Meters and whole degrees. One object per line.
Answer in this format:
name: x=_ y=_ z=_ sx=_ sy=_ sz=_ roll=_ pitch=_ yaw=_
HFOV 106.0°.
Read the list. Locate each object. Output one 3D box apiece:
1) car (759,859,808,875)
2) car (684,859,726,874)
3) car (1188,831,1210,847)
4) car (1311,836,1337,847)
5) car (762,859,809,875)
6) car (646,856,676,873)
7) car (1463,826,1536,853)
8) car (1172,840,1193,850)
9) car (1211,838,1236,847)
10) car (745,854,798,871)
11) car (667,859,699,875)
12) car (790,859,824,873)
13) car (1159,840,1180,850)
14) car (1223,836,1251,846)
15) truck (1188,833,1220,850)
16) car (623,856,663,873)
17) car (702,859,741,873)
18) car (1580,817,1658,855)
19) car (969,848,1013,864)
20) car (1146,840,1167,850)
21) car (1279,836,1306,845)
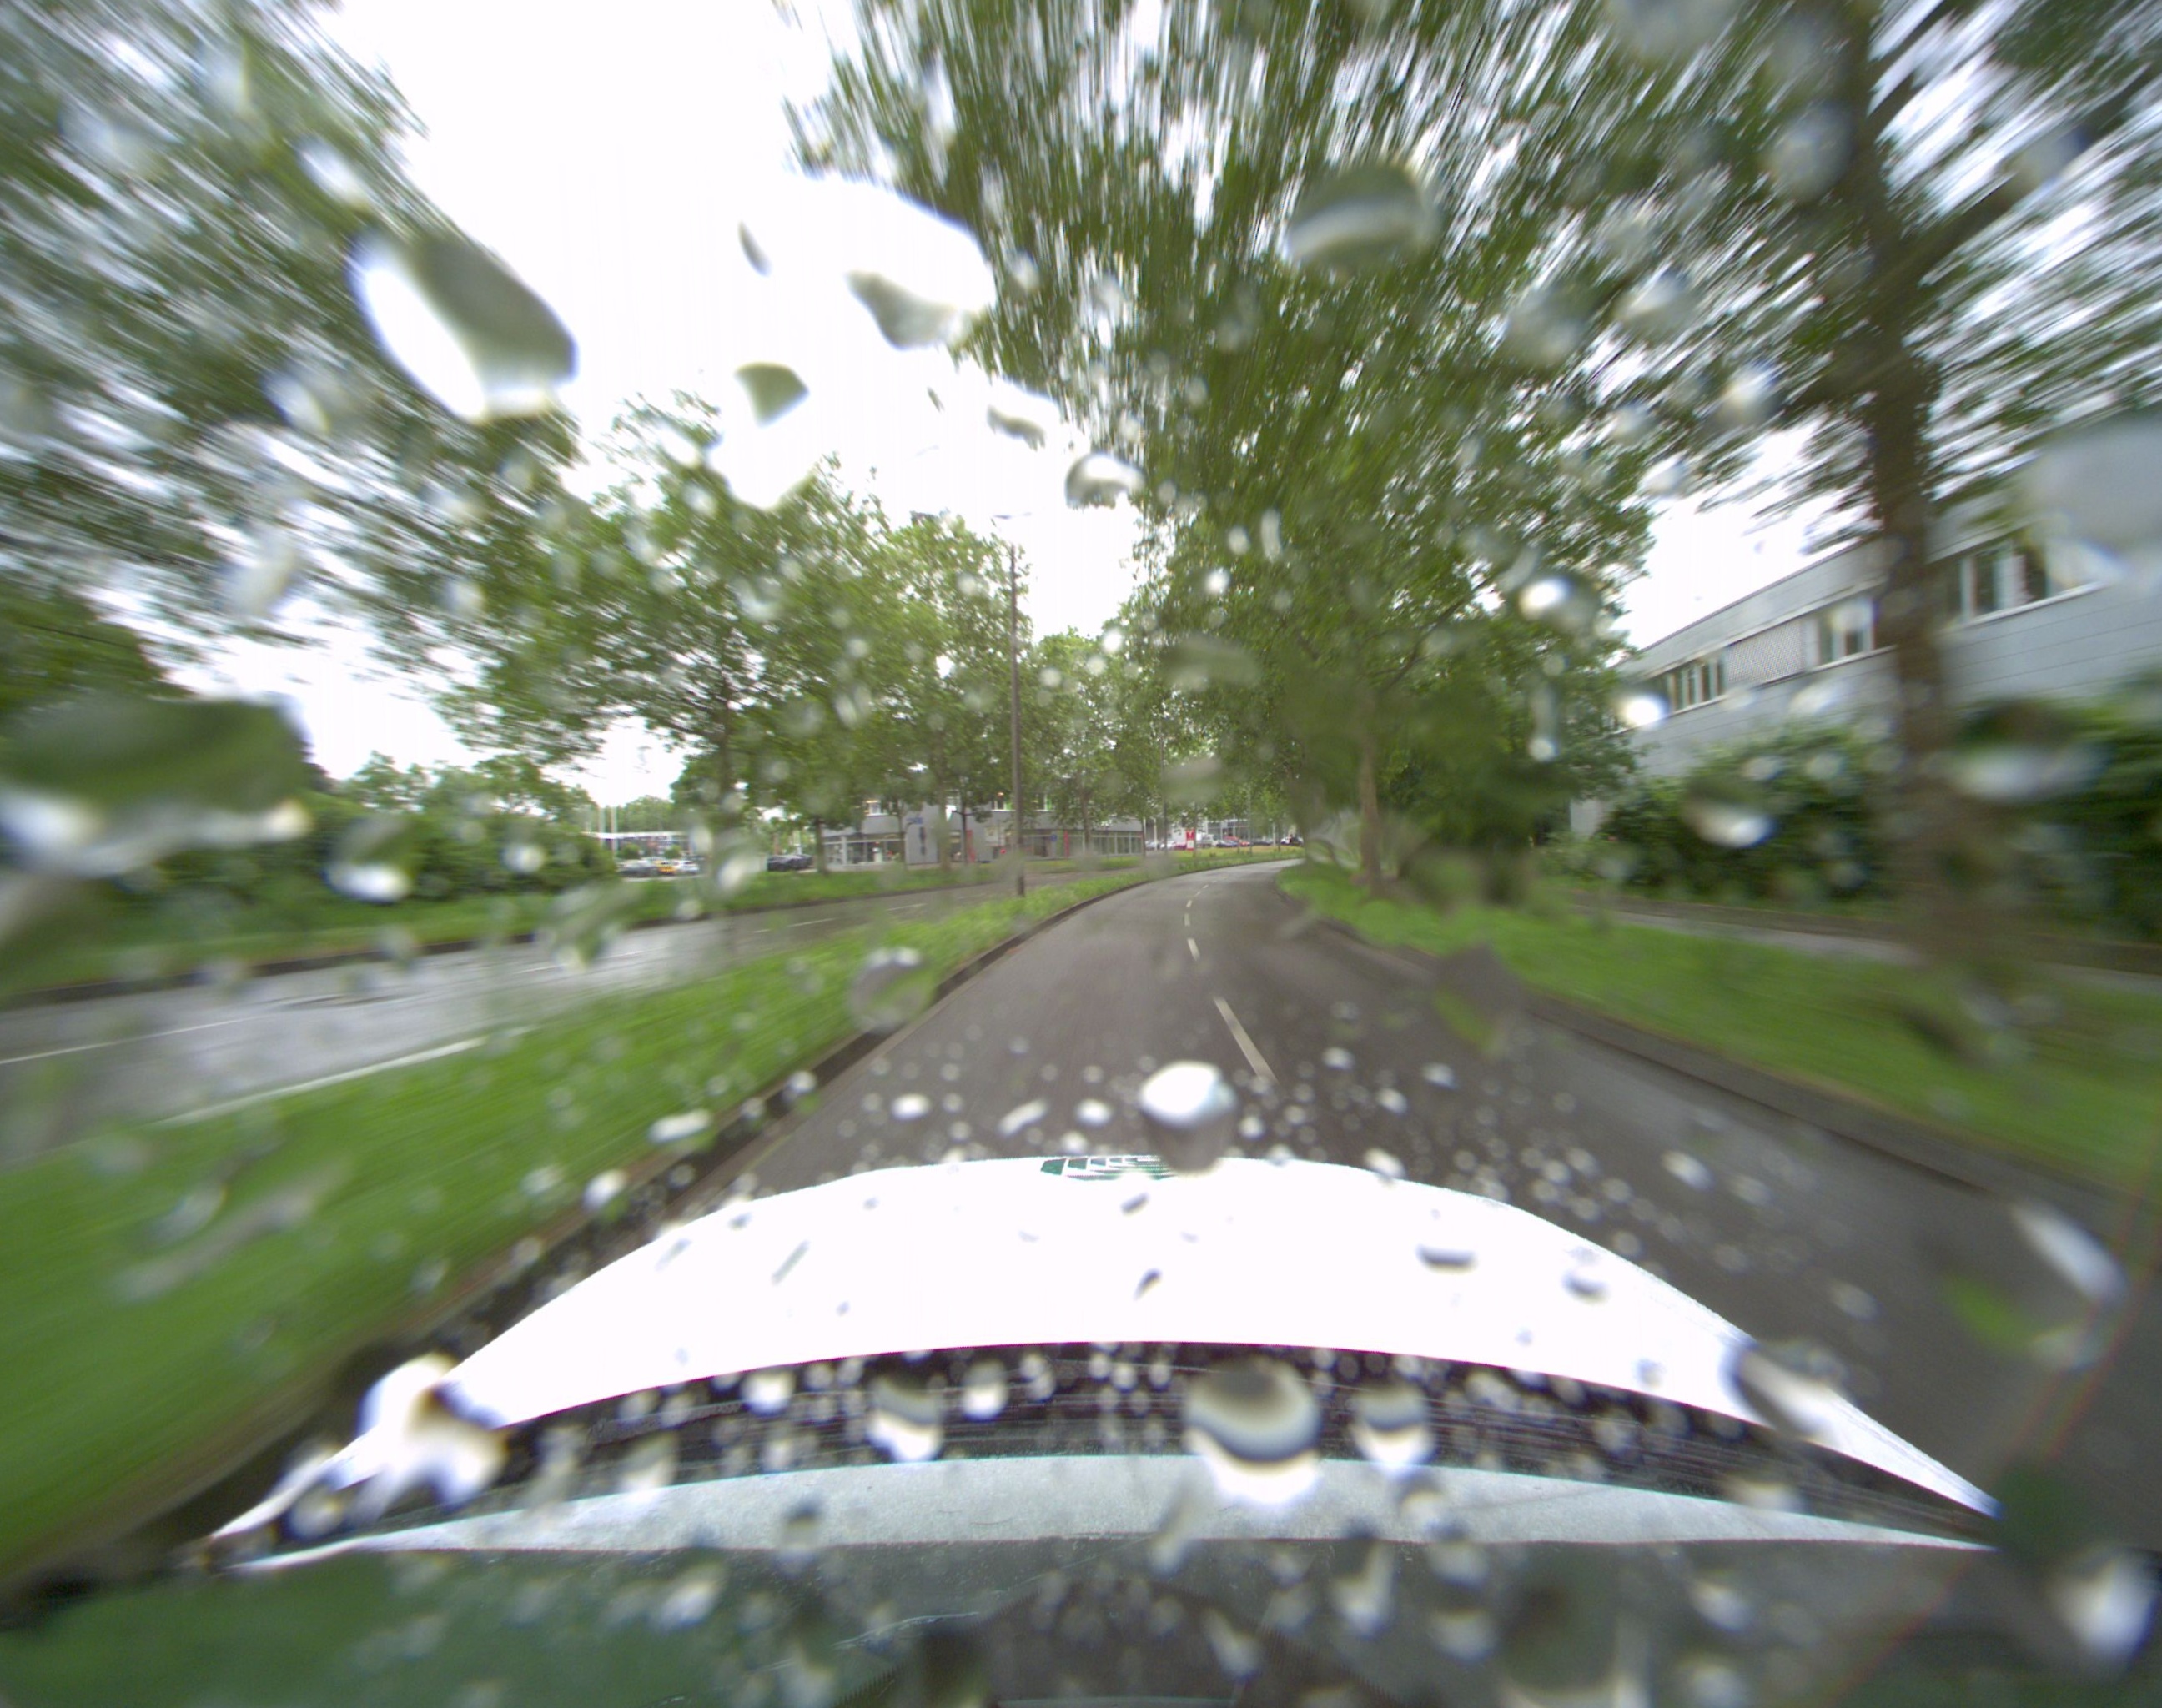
car: x=-29.260 y=1.284 z=80.080 sx=4.177 sy=1.494 sz=1.598 roll=-1 pitch=0 yaw=0
car: x=-40.622 y=1.339 z=88.102 sx=3.748 sy=1.494 sz=1.598 roll=-1 pitch=0 yaw=0
car: x=20.911 y=-2.747 z=144.887 sx=2.165 sy=2.752 sz=5.318 roll=-1 pitch=2 yaw=-12
car: x=44.443 y=-2.305 z=149.081 sx=4.107 sy=1.478 sz=1.847 roll=3 pitch=6 yaw=-3
car: x=-30.219 y=1.320 z=83.345 sx=4.177 sy=1.494 sz=1.598 roll=-1 pitch=0 yaw=0
car: x=-39.994 y=1.006 z=77.533 sx=3.033 sy=1.494 sz=1.608 roll=-1 pitch=0 yaw=42
car: x=28.267 y=-0.965 z=55.096 sx=3.962 sy=1.651 sz=1.931 roll=-1 pitch=0 yaw=10
car: x=15.997 y=-1.417 z=127.839 sx=1.746 sy=1.466 sz=4.184 roll=0 pitch=3 yaw=30
car: x=22.721 y=-1.872 z=129.614 sx=3.489 sy=1.326 sz=1.780 roll=3 pitch=4 yaw=36
car: x=-28.343 y=0.779 z=74.602 sx=4.177 sy=1.494 sz=1.598 roll=-1 pitch=0 yaw=0
car: x=-39.172 y=1.267 z=80.097 sx=1.607 sy=1.494 sz=4.153 roll=-1 pitch=0 yaw=-45
car: x=-30.887 y=1.381 z=91.910 sx=3.294 sy=1.494 sz=1.598 roll=-1 pitch=0 yaw=0
car: x=14.139 y=-1.421 z=129.977 sx=1.746 sy=1.396 sz=4.184 roll=0 pitch=3 yaw=30
car: x=25.611 y=-2.162 z=133.750 sx=3.958 sy=1.556 sz=1.860 roll=3 pitch=4 yaw=36
truck: x=19.152 y=-1.932 z=126.463 sx=2.225 sy=2.343 sz=6.235 roll=3 pitch=4 yaw=37
car: x=-40.336 y=0.949 z=74.968 sx=4.151 sy=1.494 sz=1.897 roll=-1 pitch=0 yaw=40
car: x=-41.498 y=1.390 z=93.980 sx=3.748 sy=1.494 sz=1.598 roll=-1 pitch=0 yaw=0
car: x=24.681 y=-0.871 z=37.530 sx=1.750 sy=1.581 sz=4.174 roll=-1 pitch=3 yaw=15
car: x=-8.800 y=0.221 z=79.555 sx=4.151 sy=1.494 sz=1.608 roll=-1 pitch=0 yaw=30
car: x=12.127 y=-1.413 z=131.163 sx=1.746 sy=1.396 sz=4.184 roll=0 pitch=3 yaw=30
car: x=38.960 y=-2.524 z=149.817 sx=4.379 sy=1.473 sz=1.932 roll=-1 pitch=1 yaw=34
